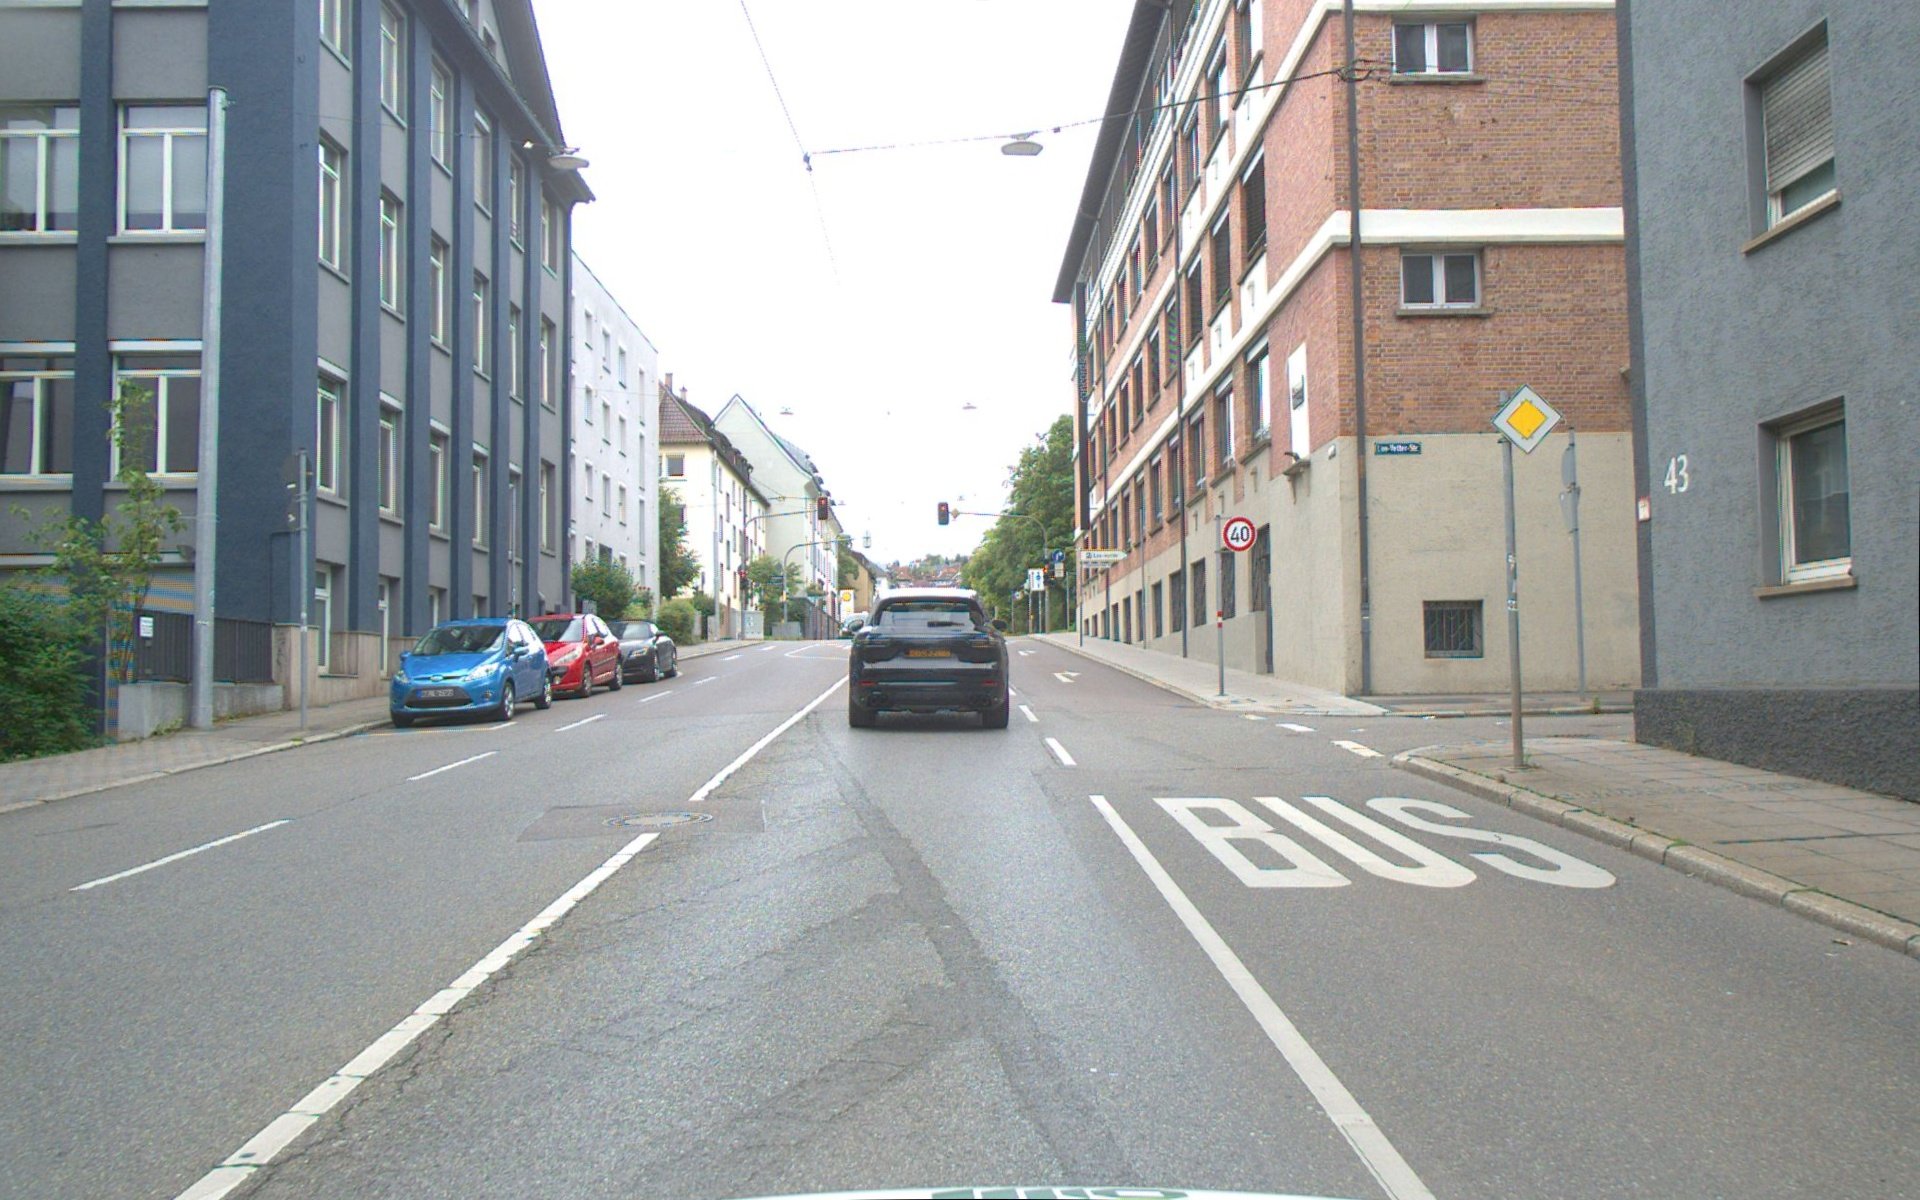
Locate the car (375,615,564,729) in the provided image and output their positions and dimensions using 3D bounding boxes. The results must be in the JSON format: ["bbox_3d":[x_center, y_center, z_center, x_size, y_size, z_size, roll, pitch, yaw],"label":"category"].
[{"bbox_3d":[-7.321,1.023,25.081,1.679,1.448,3.988,-3,0,-1],"label":"car"}]

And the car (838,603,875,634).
[{"bbox_3d":[-6.164,1.109,98.915,1.859,1.721,4.000,-3,0,1],"label":"car"}]

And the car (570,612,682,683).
[{"bbox_3d":[-7.271,1.005,36.337,1.679,1.364,3.903,-3,0,-1],"label":"car"}]

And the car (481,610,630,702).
[{"bbox_3d":[-7.392,0.980,30.601,1.679,1.482,3.989,-3,0,0],"label":"car"}]

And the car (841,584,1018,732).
[{"bbox_3d":[-0.504,0.680,21.189,1.984,1.670,4.351,1,0,-5],"label":"car"}]
